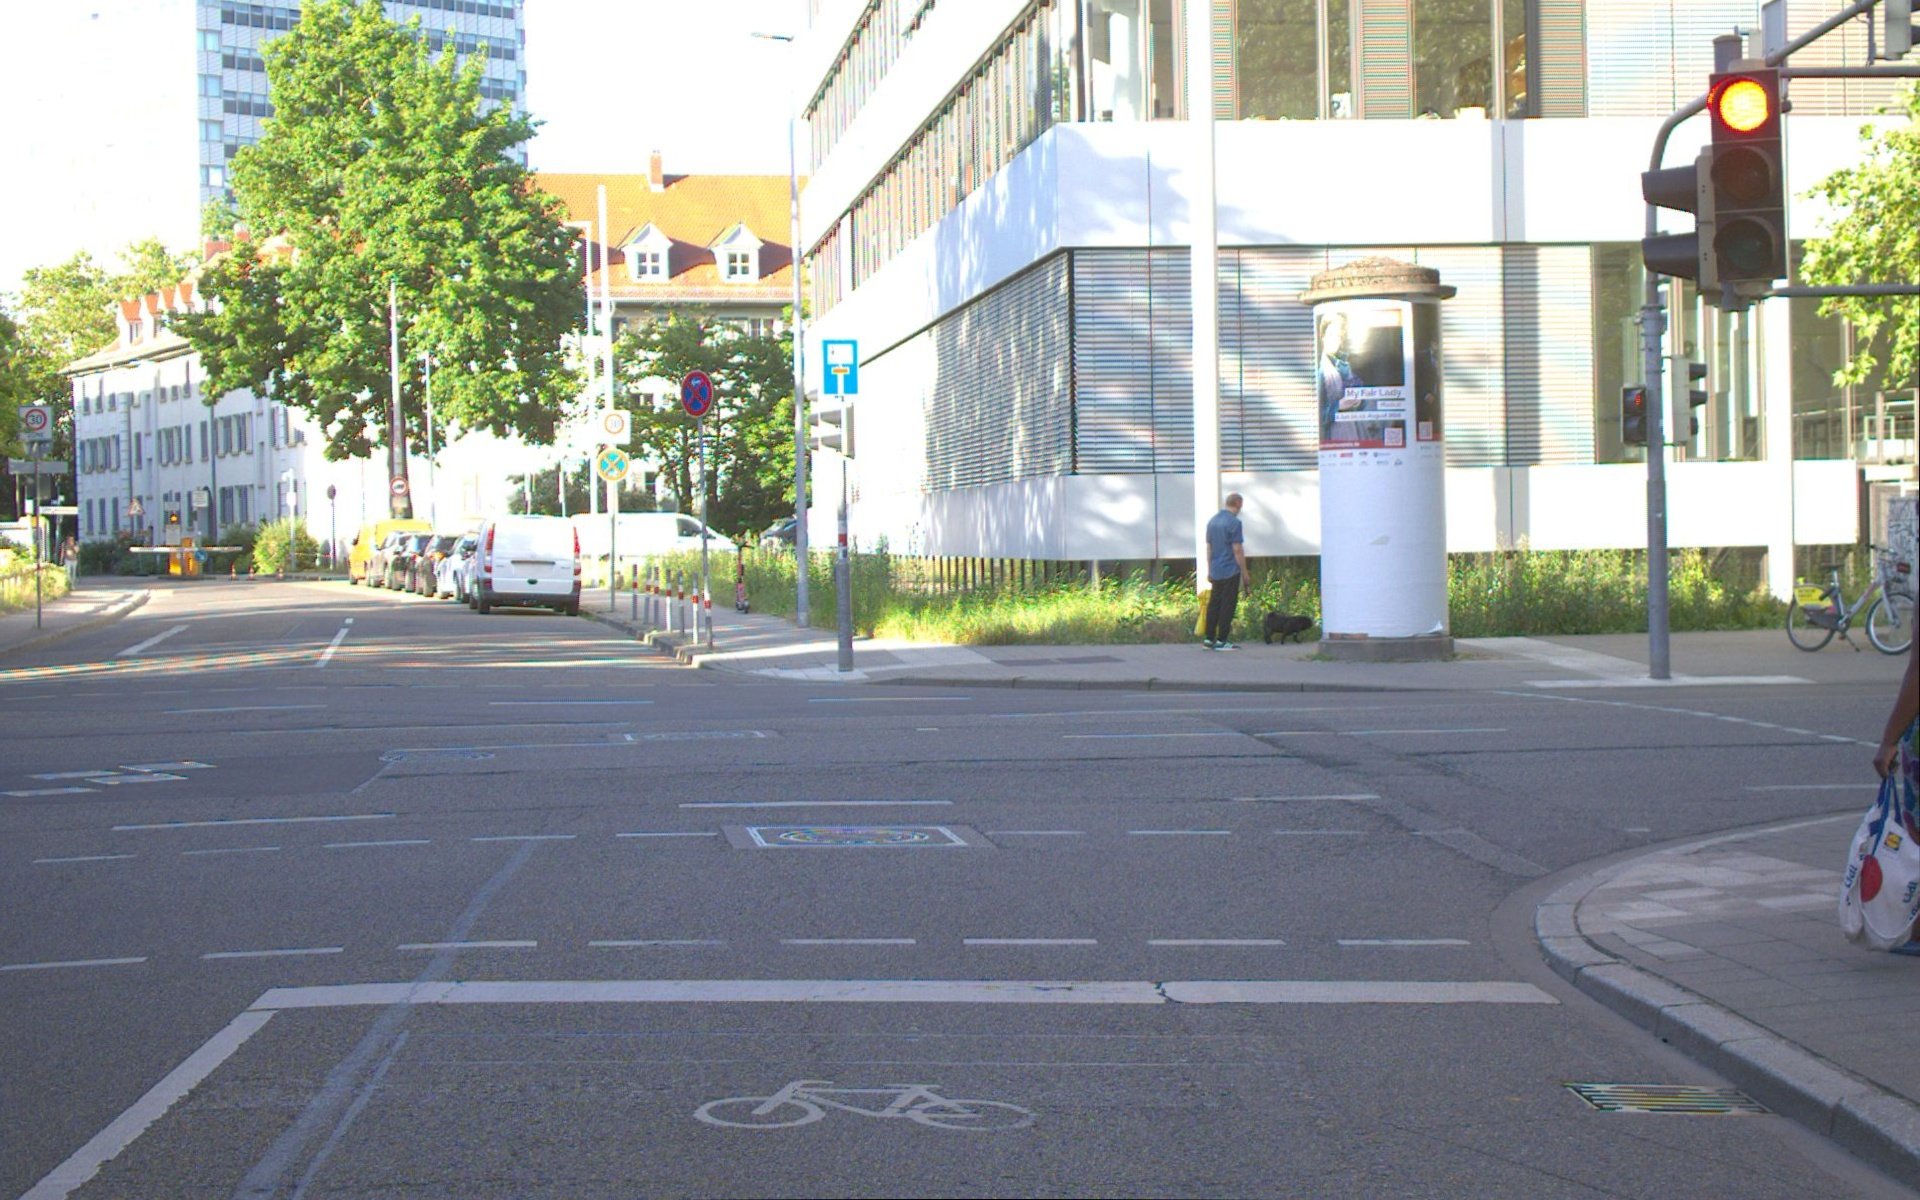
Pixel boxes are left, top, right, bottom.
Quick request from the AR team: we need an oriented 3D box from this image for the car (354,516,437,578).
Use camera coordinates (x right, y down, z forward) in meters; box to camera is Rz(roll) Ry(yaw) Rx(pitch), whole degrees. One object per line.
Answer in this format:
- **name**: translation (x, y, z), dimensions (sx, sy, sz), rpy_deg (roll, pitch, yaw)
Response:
- **car**: translation (-15.729, -1.495, 95.663), dimensions (2.100, 1.652, 4.477), rpy_deg (-1, 1, -11)

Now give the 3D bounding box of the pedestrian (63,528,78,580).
- **pedestrian**: translation (-26.317, -1.375, 101.762), dimensions (0.380, 1.529, 0.446), rpy_deg (-1, 1, -12)

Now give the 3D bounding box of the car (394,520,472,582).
- **car**: translation (-13.181, -1.237, 85.842), dimensions (1.703, 1.459, 4.239), rpy_deg (-1, 1, -11)

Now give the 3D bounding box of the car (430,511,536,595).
- **car**: translation (-10.641, -1.063, 76.469), dimensions (1.946, 1.789, 4.239), rpy_deg (-1, 1, -13)

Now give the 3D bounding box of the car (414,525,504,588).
- **car**: translation (-11.871, -1.039, 81.290), dimensions (1.703, 1.419, 4.239), rpy_deg (-1, 1, -14)

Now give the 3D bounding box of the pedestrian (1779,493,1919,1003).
- **pedestrian**: translation (3.287, 0.432, 11.116), dimensions (0.954, 1.568, 0.750), rpy_deg (-4, 1, -5)

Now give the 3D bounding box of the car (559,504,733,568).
- **car**: translation (-9.385, -1.896, 102.809), dimensions (4.880, 1.865, 2.001), rpy_deg (0, 0, -17)

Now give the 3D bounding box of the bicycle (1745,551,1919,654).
- **bicycle**: translation (9.189, 0.021, 36.123), dimensions (0.463, 1.045, 1.914), rpy_deg (-2, 2, -42)

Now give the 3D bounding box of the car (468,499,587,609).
- **car**: translation (-8.160, -0.878, 64.647), dimensions (2.066, 1.956, 4.239), rpy_deg (-1, 1, -9)

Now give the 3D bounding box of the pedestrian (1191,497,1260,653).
- **pedestrian**: translation (2.992, -0.291, 38.708), dimensions (0.653, 1.730, 0.812), rpy_deg (-1, 1, 11)
